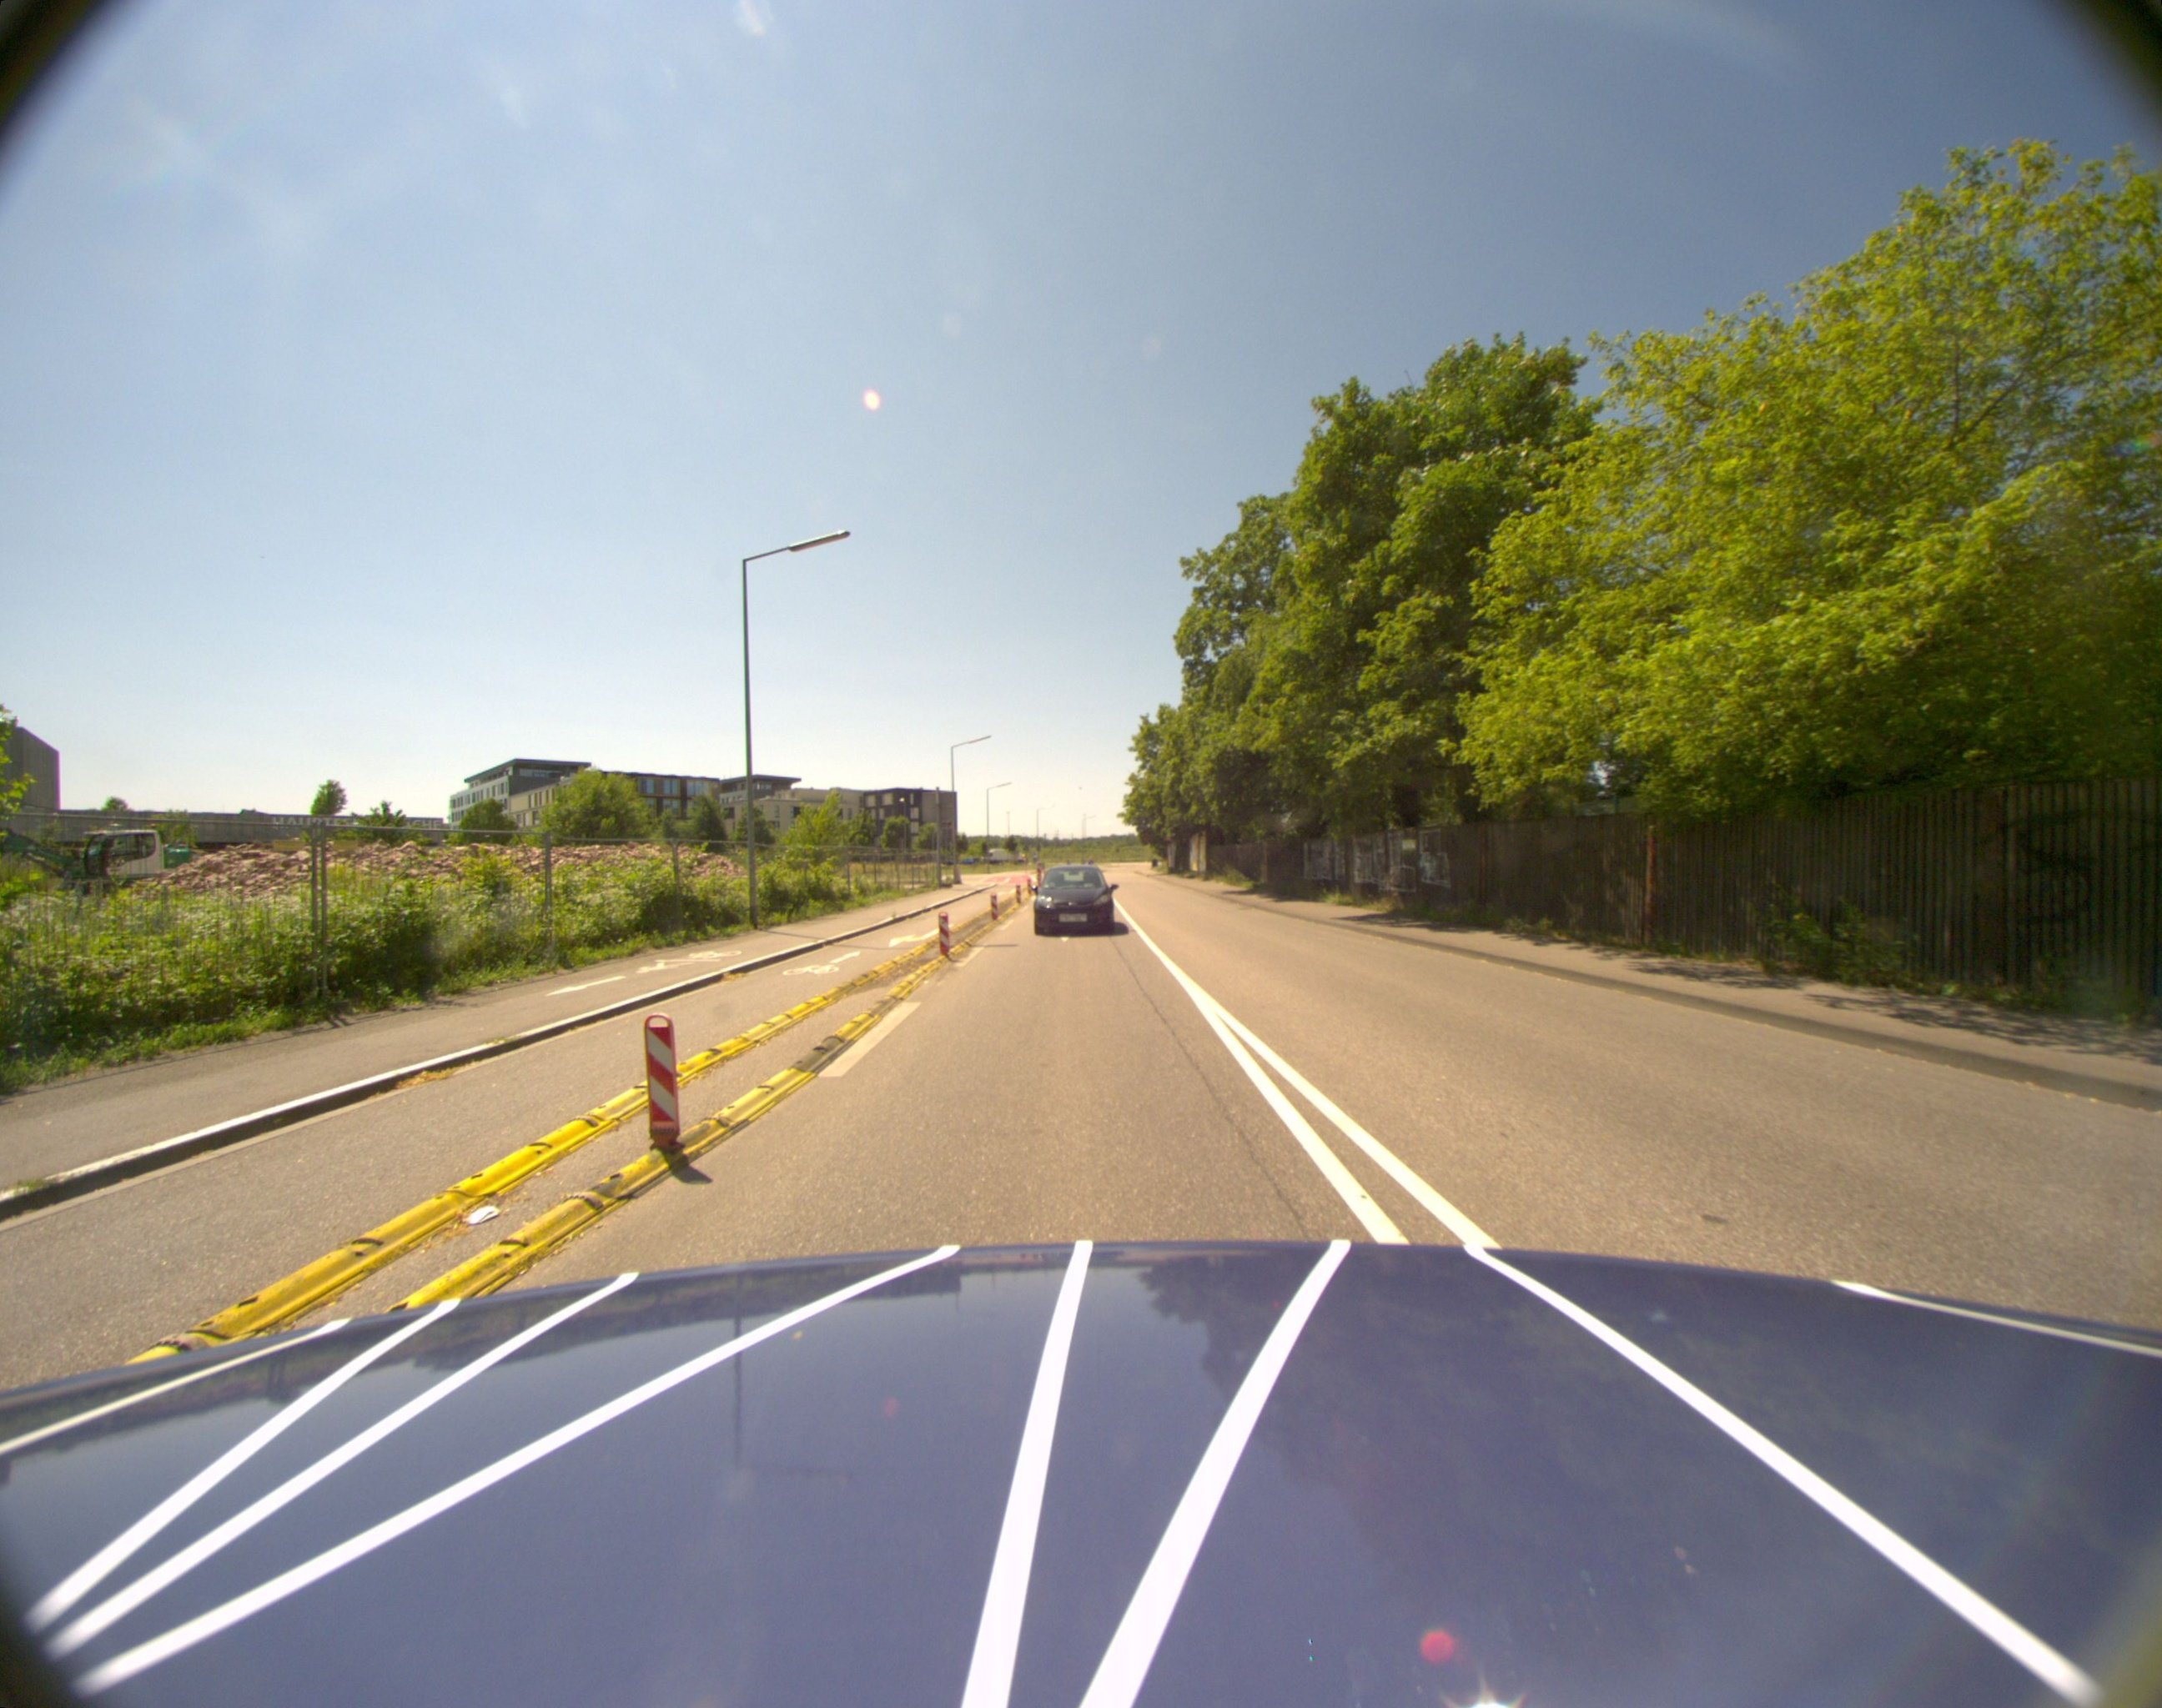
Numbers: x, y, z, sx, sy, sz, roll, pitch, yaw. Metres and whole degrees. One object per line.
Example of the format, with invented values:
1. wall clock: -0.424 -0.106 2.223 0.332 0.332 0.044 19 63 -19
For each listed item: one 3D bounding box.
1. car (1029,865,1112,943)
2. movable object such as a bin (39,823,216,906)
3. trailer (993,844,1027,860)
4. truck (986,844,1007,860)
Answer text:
1. car: -0.194 1.022 17.067 1.602 1.422 4.000 -2 0 0
2. movable object such as a bin: -37.807 0.400 30.297 2.205 3.045 3.690 -2 1 6
3. trailer: -15.563 -0.480 166.999 8.193 3.329 1.994 -1 0 -45
4. truck: -18.315 -0.469 164.254 4.008 3.316 1.994 -1 0 -45
